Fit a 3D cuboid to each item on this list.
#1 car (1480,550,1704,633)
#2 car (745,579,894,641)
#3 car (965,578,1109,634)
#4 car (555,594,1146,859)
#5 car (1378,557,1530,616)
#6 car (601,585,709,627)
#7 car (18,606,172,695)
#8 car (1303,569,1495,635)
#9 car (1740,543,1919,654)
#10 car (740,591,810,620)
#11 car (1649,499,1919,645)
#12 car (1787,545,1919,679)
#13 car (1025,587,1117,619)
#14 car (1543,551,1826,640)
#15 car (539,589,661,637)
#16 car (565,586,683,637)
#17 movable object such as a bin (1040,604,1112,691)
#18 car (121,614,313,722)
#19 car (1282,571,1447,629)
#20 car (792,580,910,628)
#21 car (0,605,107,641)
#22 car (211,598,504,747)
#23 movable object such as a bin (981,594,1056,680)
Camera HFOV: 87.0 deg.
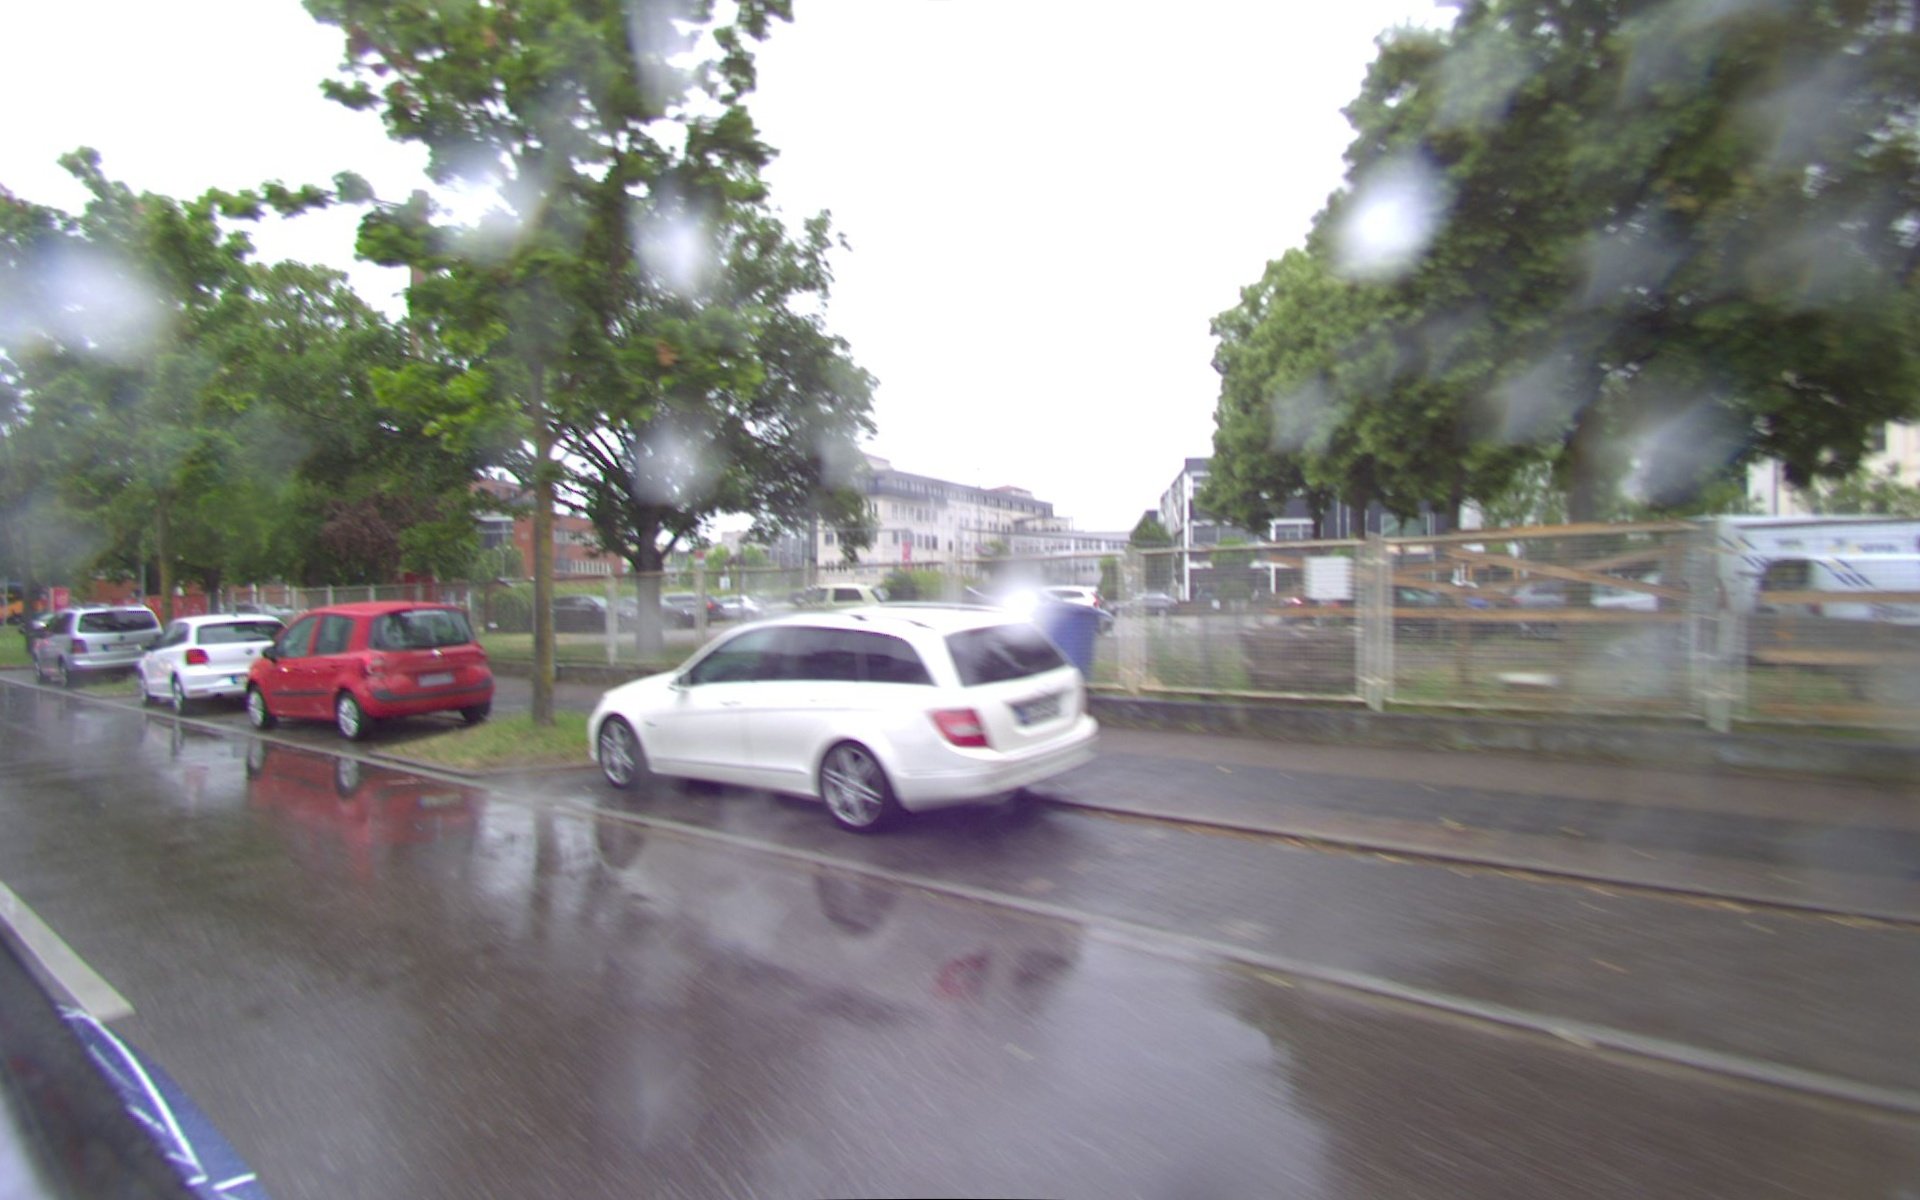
[{"bbox_3d":[17.091,-0.232,27.623,4.667,2.099,2.144,-1,1,10],"label":"car"},{"bbox_3d":[-4.079,0.278,29.804,3.952,1.682,2.063,-1,1,7],"label":"car"},{"bbox_3d":[2.258,0.174,29.277,3.958,1.506,1.753,-1,1,12],"label":"car"},{"bbox_3d":[-1.072,0.728,7.869,4.674,1.471,1.757,-1,1,38],"label":"car"},{"bbox_3d":[18.488,-0.488,38.109,4.667,2.088,2.144,-1,1,10],"label":"car"},{"bbox_3d":[-12.697,0.235,42.264,3.952,1.683,1.767,-1,1,7],"label":"car"},{"bbox_3d":[-18.669,1.012,21.787,4.034,1.694,1.858,-1,1,40],"label":"car"},{"bbox_3d":[10.598,0.042,24.708,3.958,1.506,1.753,-1,1,12],"label":"car"},{"bbox_3d":[15.073,-0.045,15.892,4.101,1.652,1.743,-1,1,10],"label":"car"},{"bbox_3d":[-11.504,0.322,63.154,3.952,1.683,1.767,-1,1,7],"label":"car"},{"bbox_3d":[15.453,-0.480,18.076,4.667,2.414,2.144,-1,1,10],"label":"car"},{"bbox_3d":[13.609,0.108,13.123,3.955,1.652,1.994,-1,1,10],"label":"car"},{"bbox_3d":[4.980,0.131,45.196,3.958,1.362,1.993,-1,1,12],"label":"car"},{"bbox_3d":[16.171,-0.092,22.876,4.667,1.836,2.144,-1,1,10],"label":"car"},{"bbox_3d":[-13.482,0.464,37.975,3.952,1.683,1.767,-1,1,7],"label":"car"},{"bbox_3d":[-13.232,0.425,39.998,3.952,1.896,1.996,-1,1,7],"label":"car"},{"bbox_3d":[1.345,0.534,11.756,0.637,0.956,0.532,-1,1,40],"label":"movable object such as a bin"},{"bbox_3d":[-11.931,0.991,16.185,3.716,1.465,1.673,0,1,41],"label":"car"},{"bbox_3d":[11.123,-0.009,28.077,3.958,1.506,1.753,-1,1,12],"label":"car"},{"bbox_3d":[-3.967,0.133,37.323,3.952,1.682,2.063,-1,1,7],"label":"car"},{"bbox_3d":[-48.224,1.203,53.960,1.974,1.775,3.996,-1,1,4],"label":"car"},{"bbox_3d":[-7.688,0.817,12.851,3.785,1.610,1.612,-1,1,31],"label":"car"},{"bbox_3d":[0.712,0.437,12.325,0.713,0.993,0.540,-1,1,40],"label":"movable object such as a bin"}]
